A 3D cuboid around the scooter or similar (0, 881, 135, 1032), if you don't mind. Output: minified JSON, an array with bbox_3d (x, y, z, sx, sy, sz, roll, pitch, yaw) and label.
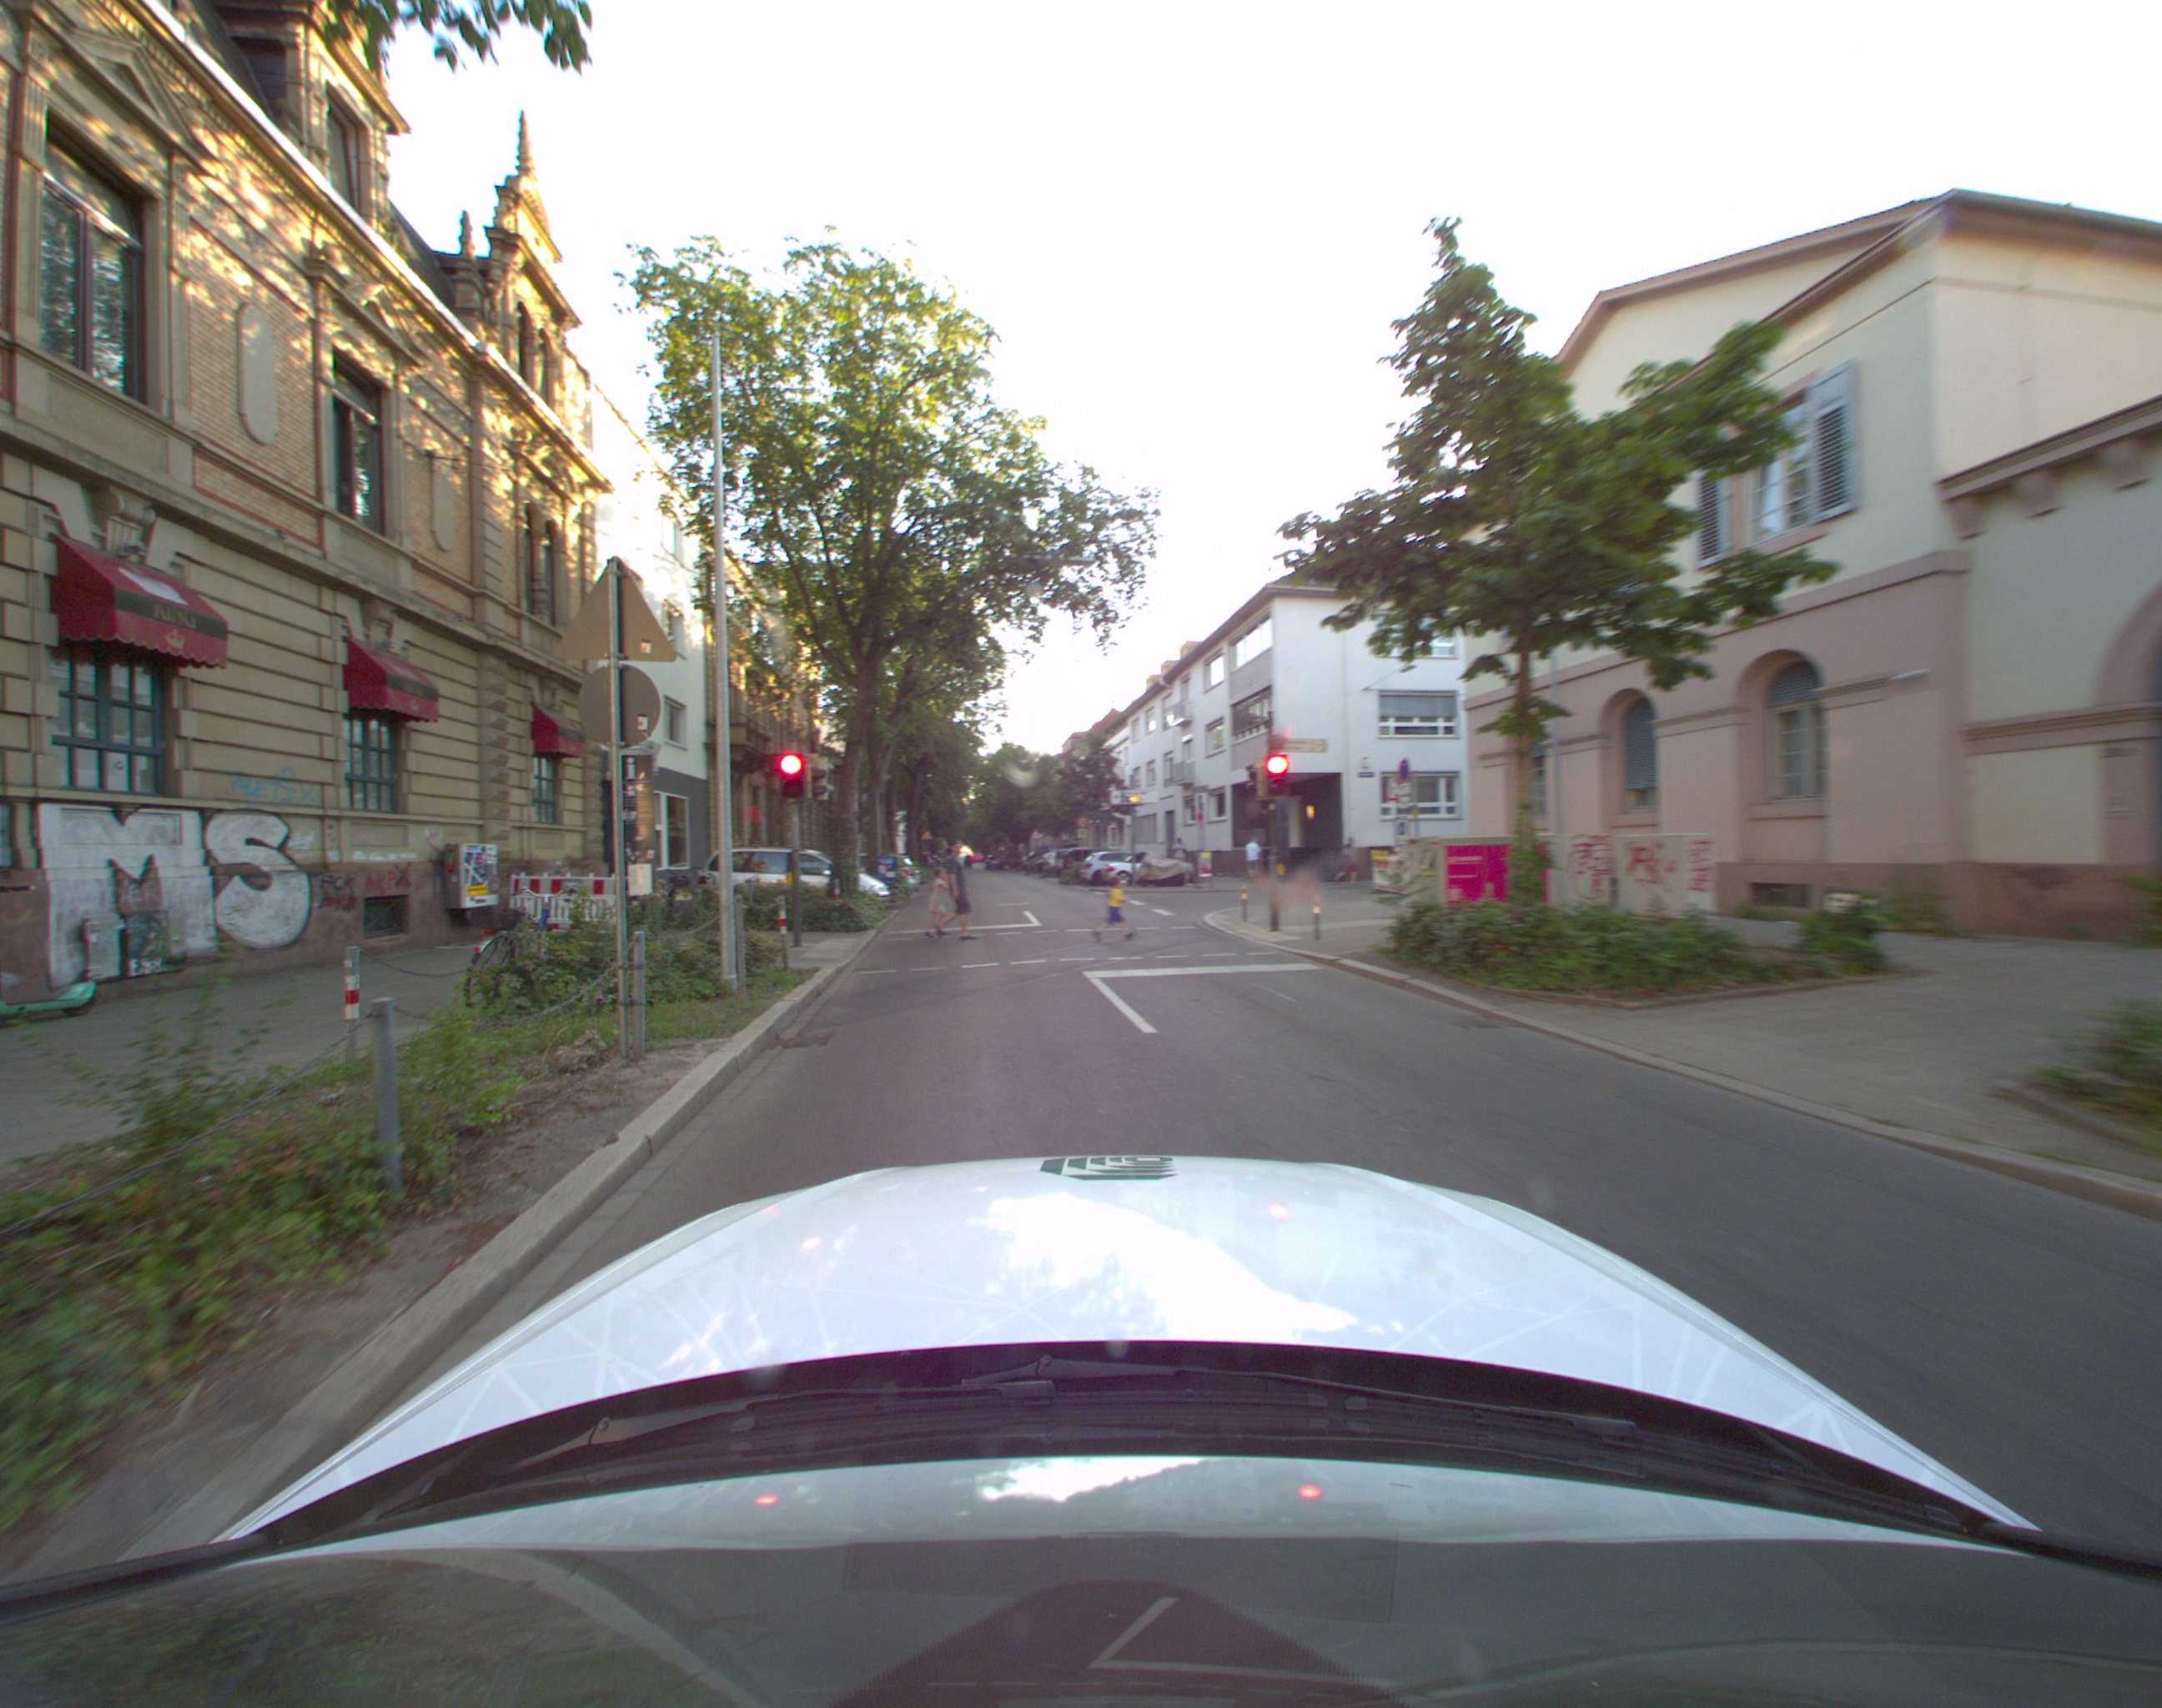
[{"bbox_3d":[-8.823,0.831,6.730,0.436,1.168,1.288,0,0,4],"label":"scooter or similar"}]

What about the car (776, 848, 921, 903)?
[{"bbox_3d":[-7.947,0.713,28.231,4.546,1.689,1.828,-2,0,-9],"label":"car"}]

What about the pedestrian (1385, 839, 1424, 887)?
[{"bbox_3d":[10.724,0.296,27.017,0.976,1.557,0.699,-1,0,-9],"label":"pedestrian"}]

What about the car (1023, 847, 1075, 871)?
[{"bbox_3d":[-2.589,0.421,65.427,4.013,1.830,1.702,-1,0,-9],"label":"car"}]

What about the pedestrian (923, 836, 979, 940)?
[{"bbox_3d":[-2.353,0.600,14.809,0.886,1.815,0.793,-2,0,-4],"label":"pedestrian"}]

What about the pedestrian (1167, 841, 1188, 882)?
[{"bbox_3d":[4.416,0.325,37.300,0.766,1.841,0.941,-1,0,-8],"label":"pedestrian"}]

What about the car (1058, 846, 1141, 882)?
[{"bbox_3d":[0.915,0.481,42.041,4.013,1.690,1.702,-2,0,-9],"label":"car"}]

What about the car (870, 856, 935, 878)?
[{"bbox_3d":[-13.243,0.938,60.506,4.546,1.410,1.828,-2,0,-9],"label":"car"}]

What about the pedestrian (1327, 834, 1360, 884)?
[{"bbox_3d":[9.306,0.169,28.863,0.768,1.752,0.931,-1,0,-8],"label":"pedestrian"}]

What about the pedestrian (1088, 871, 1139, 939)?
[{"bbox_3d":[0.559,0.875,14.177,0.833,1.121,0.566,-1,0,-4],"label":"pedestrian"}]

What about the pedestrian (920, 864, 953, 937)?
[{"bbox_3d":[-2.721,0.859,15.386,0.538,1.335,0.506,-1,0,-4],"label":"pedestrian"}]

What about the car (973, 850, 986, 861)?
[{"bbox_3d":[-16.437,0.246,132.271,1.924,1.660,3.988,-2,0,-9],"label":"car"}]

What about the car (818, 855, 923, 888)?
[{"bbox_3d":[-9.818,0.814,38.321,4.546,1.372,1.828,-2,0,-9],"label":"car"}]

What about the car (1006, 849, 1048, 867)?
[{"bbox_3d":[-5.319,0.378,80.128,4.013,1.602,1.702,-1,0,-9],"label":"car"}]

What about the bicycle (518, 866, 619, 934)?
[{"bbox_3d":[-10.140,0.862,16.232,0.636,1.201,2.557,-2,0,-7],"label":"bicycle"}]

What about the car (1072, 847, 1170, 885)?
[{"bbox_3d":[1.719,0.507,35.677,4.013,1.442,1.702,-2,0,-9],"label":"car"}]

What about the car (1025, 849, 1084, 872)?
[{"bbox_3d":[-1.908,0.483,58.102,4.013,1.530,1.702,-1,0,-9],"label":"car"}]

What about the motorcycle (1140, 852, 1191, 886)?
[{"bbox_3d":[3.116,0.554,30.014,1.794,1.199,0.613,-2,0,0],"label":"motorcycle"}]

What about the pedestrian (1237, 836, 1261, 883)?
[{"bbox_3d":[6.341,0.194,30.794,0.702,1.752,0.698,-1,0,-5],"label":"pedestrian"}]

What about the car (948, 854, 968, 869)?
[{"bbox_3d":[-12.756,0.754,84.391,1.904,1.578,3.977,0,0,-10],"label":"car"}]

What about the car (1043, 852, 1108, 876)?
[{"bbox_3d":[-0.395,0.665,53.212,4.013,1.409,1.702,-2,0,-9],"label":"car"}]

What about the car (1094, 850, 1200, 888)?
[{"bbox_3d":[2.648,0.584,33.182,4.012,1.342,1.702,-2,0,-9],"label":"car"}]

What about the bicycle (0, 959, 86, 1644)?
[{"bbox_3d":[-2.591,0.874,0.402,0.839,1.267,2.577,-2,0,6],"label":"bicycle"}]

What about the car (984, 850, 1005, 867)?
[{"bbox_3d":[-8.360,0.415,78.370,1.825,1.561,4.014,0,0,-9],"label":"car"}]

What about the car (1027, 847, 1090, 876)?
[{"bbox_3d":[-1.556,0.520,55.353,4.013,1.815,1.702,-2,0,-9],"label":"car"}]

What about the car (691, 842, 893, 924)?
[{"bbox_3d":[-7.190,0.689,20.735,4.551,1.835,1.826,-2,0,-12],"label":"car"}]

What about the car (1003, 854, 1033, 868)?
[{"bbox_3d":[-8.770,0.923,112.585,4.013,1.830,1.702,-1,0,-9],"label":"car"}]

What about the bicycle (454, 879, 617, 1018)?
[{"bbox_3d":[-5.425,0.866,8.256,0.510,1.153,2.095,0,0,-9],"label":"bicycle"}]

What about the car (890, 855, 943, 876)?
[{"bbox_3d":[-14.635,0.995,72.610,4.545,1.691,1.828,-1,0,-9],"label":"car"}]

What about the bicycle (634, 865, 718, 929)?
[{"bbox_3d":[-8.400,0.845,17.026,0.734,1.186,2.627,0,0,-8],"label":"bicycle"}]
